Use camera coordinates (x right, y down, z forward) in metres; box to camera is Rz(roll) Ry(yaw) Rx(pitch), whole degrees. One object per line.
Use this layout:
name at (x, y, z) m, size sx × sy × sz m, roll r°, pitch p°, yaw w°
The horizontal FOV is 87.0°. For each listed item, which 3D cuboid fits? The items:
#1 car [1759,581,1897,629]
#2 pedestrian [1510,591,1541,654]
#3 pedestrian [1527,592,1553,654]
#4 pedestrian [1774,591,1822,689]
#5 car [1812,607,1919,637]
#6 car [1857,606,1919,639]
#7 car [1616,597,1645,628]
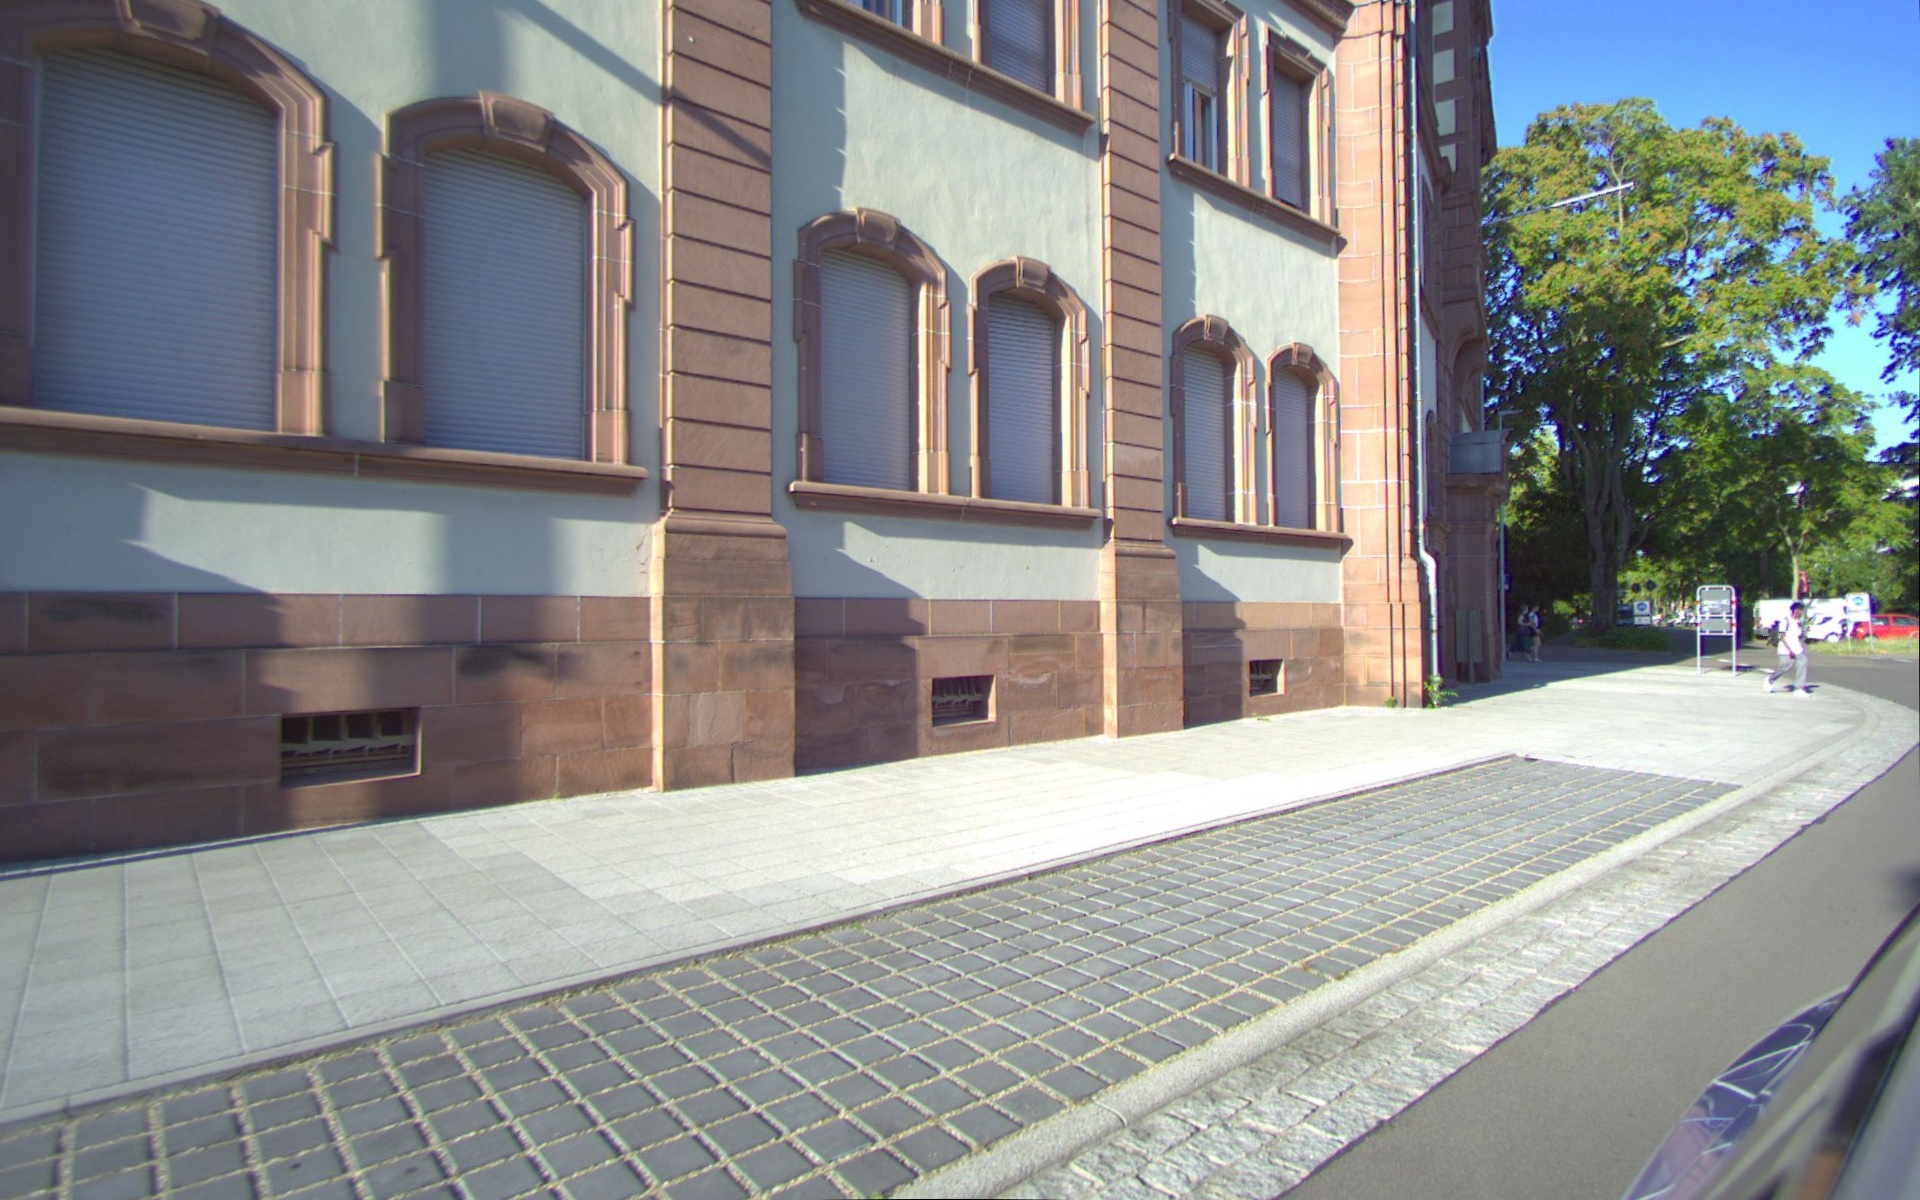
car at (51.825, 0.345, 60.628) m, size 5.860 × 2.735 × 2.196 m, roll -1°, pitch -2°, yaw 31°
pedestrian at (16.893, 0.686, 30.225) m, size 0.711 × 1.864 × 0.780 m, roll -1°, pitch -3°, yaw 34°
pedestrian at (17.536, 0.705, 30.596) m, size 0.608 × 1.864 × 0.717 m, roll -1°, pitch -4°, yaw 34°
pedestrian at (15.414, 0.716, 18.640) m, size 0.530 × 1.740 × 0.991 m, roll 1°, pitch 0°, yaw 32°
car at (45.420, 1.101, 50.621) m, size 4.025 × 1.438 × 1.700 m, roll -1°, pitch -2°, yaw 31°
car at (42.982, 1.008, 45.484) m, size 3.648 × 1.438 × 1.700 m, roll -1°, pitch -2°, yaw 31°
car at (58.250, 1.079, 87.862) m, size 1.940 × 2.633 × 4.113 m, roll -2°, pitch -2°, yaw 35°
